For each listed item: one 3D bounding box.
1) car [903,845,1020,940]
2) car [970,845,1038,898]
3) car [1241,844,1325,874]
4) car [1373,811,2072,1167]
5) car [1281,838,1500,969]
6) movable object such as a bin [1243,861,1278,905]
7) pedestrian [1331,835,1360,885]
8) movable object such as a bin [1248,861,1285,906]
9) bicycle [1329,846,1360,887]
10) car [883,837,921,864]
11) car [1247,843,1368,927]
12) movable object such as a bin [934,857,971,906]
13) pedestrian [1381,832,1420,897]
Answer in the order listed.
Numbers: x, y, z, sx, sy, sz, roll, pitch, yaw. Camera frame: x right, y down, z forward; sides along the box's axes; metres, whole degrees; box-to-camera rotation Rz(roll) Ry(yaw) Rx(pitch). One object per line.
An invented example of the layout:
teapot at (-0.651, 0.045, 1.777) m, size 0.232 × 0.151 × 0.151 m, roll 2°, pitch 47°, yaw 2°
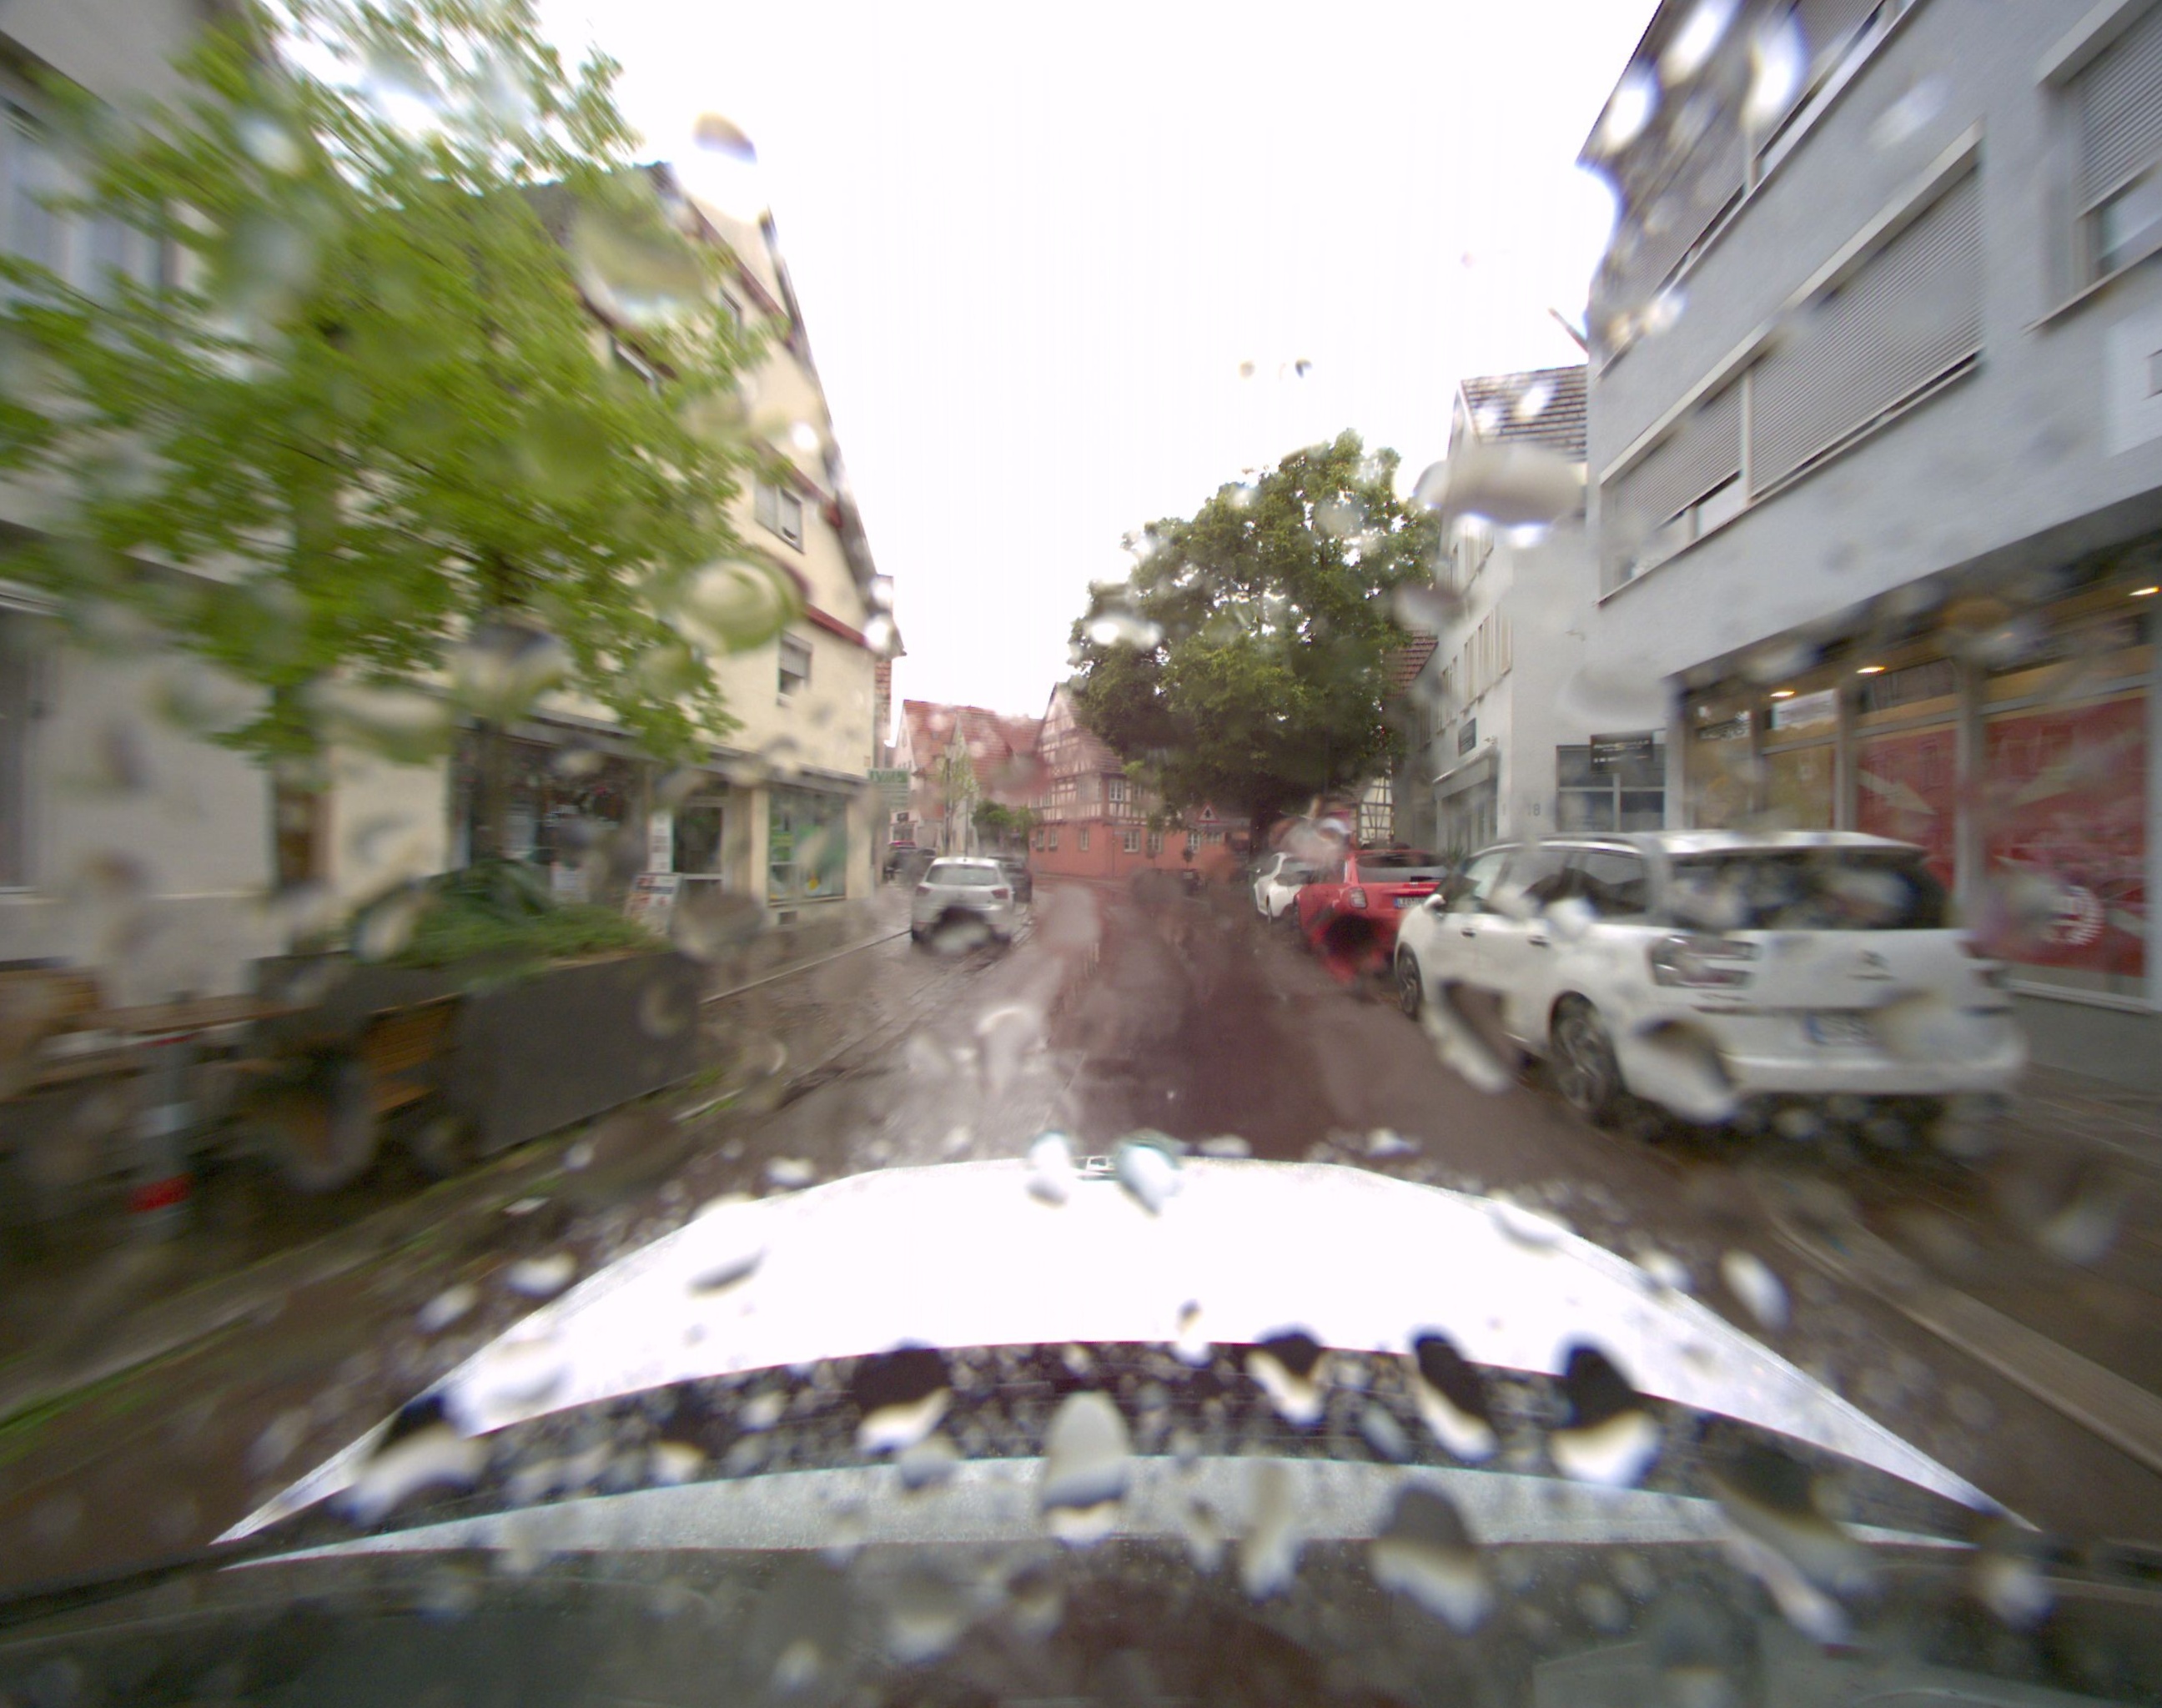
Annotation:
car at (-2.092, 0.609, 15.304) m, size 1.846 × 1.452 × 4.067 m, roll 1°, pitch 1°, yaw -4°
car at (-2.591, 0.566, 26.551) m, size 1.875 × 1.541 × 4.385 m, roll 2°, pitch -1°, yaw -10°
car at (11.760, 0.257, 47.259) m, size 4.629 × 1.633 × 1.982 m, roll 0°, pitch 2°, yaw -30°
car at (3.718, 0.603, 5.946) m, size 1.780 × 1.599 × 4.443 m, roll 1°, pitch 0°, yaw 3°
car at (4.059, 0.616, 11.382) m, size 1.780 × 1.469 × 3.953 m, roll 1°, pitch -1°, yaw 4°
movable object such as a bin at (4.592, 0.739, 20.888) m, size 0.724 × 1.083 × 0.603 m, roll 1°, pitch -2°, yaw -5°
pedestrian at (9.128, 0.222, 28.110) m, size 0.902 × 1.698 × 0.866 m, roll -1°, pitch -1°, yaw 20°
movable object such as a bin at (4.597, 0.723, 20.208) m, size 0.724 × 1.093 × 0.609 m, roll 1°, pitch -2°, yaw -5°
bicycle at (9.089, 0.420, 28.019) m, size 0.917 × 1.350 × 2.227 m, roll -1°, pitch 0°, yaw 20°
car at (-13.397, -0.264, 60.782) m, size 1.903 × 1.811 × 3.968 m, roll 3°, pitch 0°, yaw -24°
car at (4.646, 0.573, 17.236) m, size 1.779 × 1.555 × 3.955 m, roll 0°, pitch 0°, yaw 5°
movable object such as a bin at (-3.134, 0.668, 19.948) m, size 0.697 × 1.122 × 0.719 m, roll 4°, pitch -2°, yaw 3°
pedestrian at (8.610, 0.277, 21.968) m, size 0.878 × 1.713 × 0.893 m, roll 1°, pitch -2°, yaw 16°
